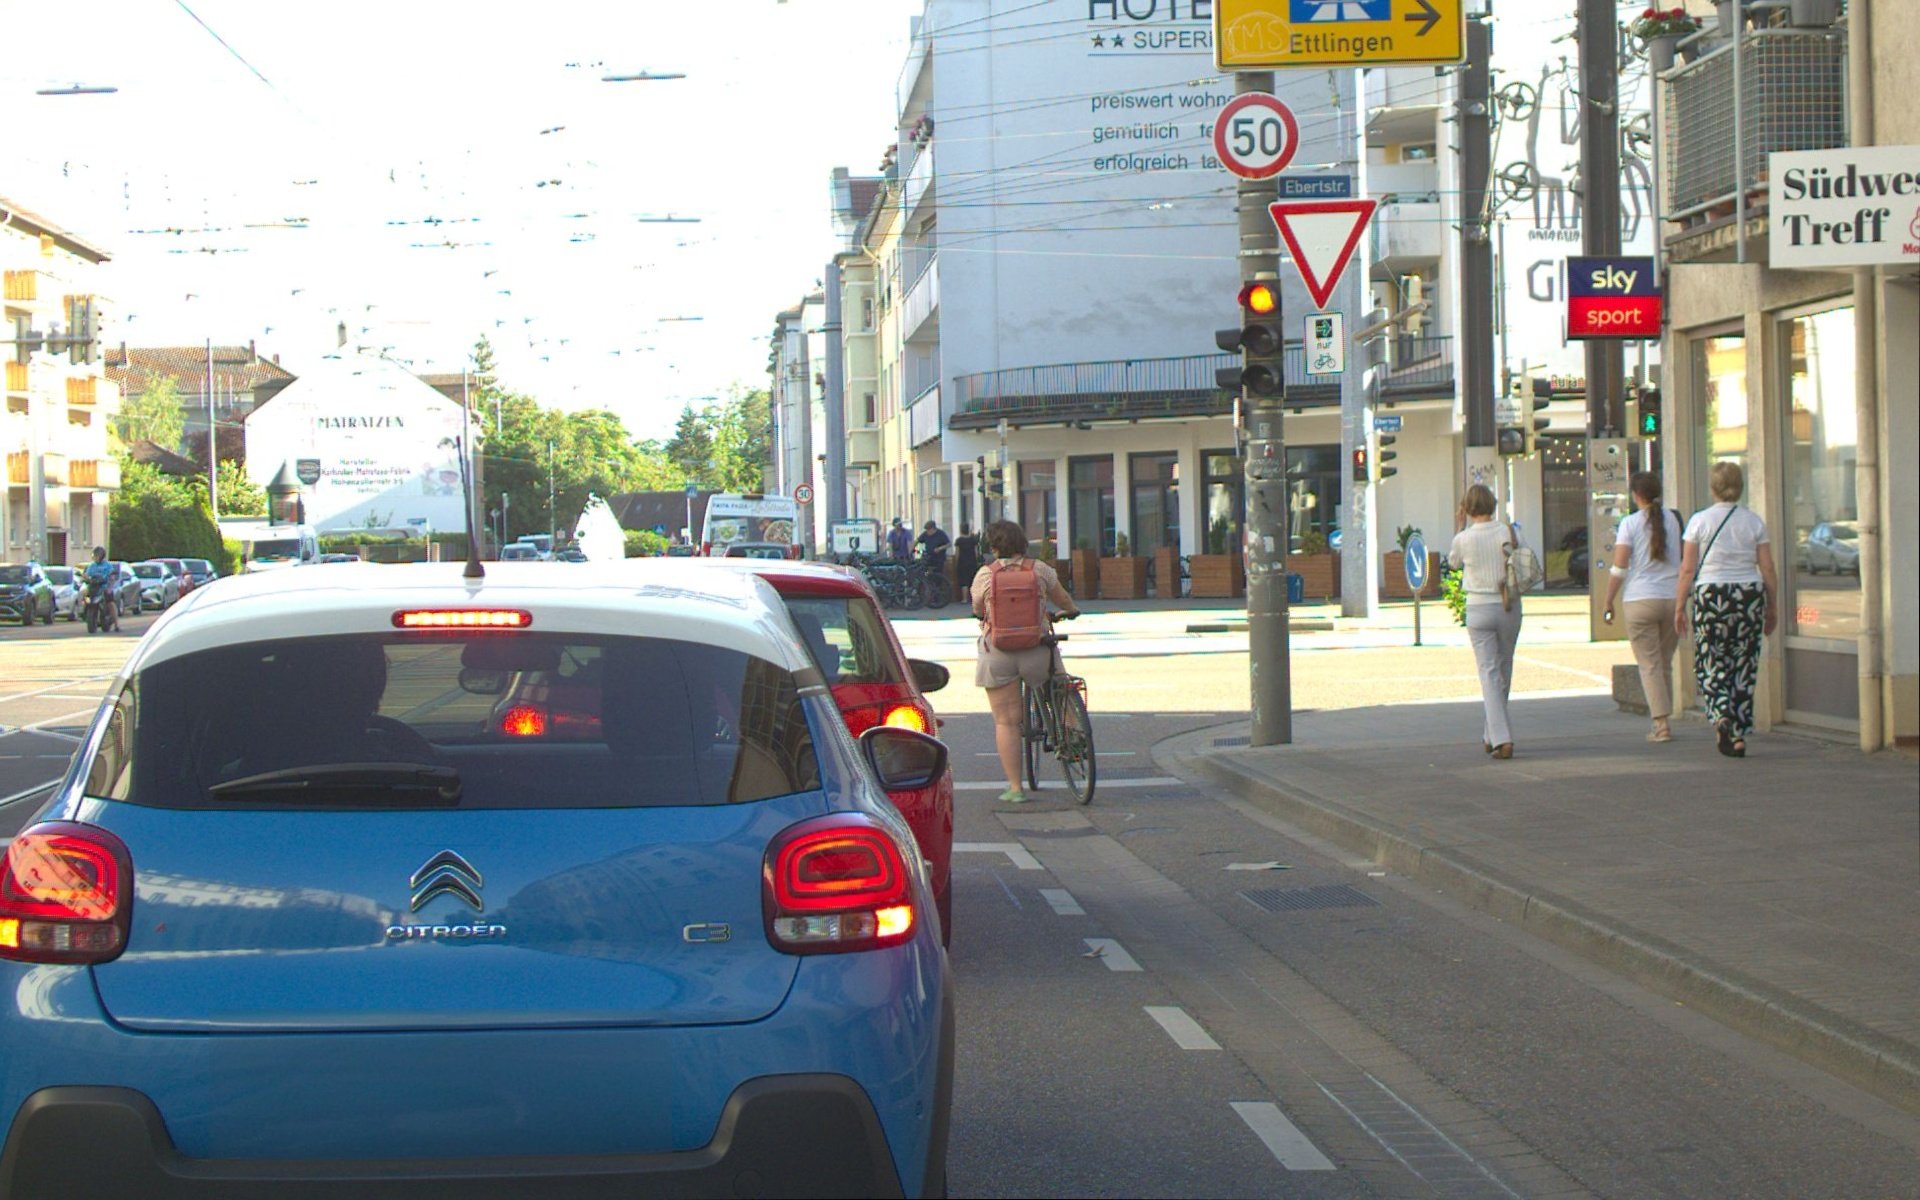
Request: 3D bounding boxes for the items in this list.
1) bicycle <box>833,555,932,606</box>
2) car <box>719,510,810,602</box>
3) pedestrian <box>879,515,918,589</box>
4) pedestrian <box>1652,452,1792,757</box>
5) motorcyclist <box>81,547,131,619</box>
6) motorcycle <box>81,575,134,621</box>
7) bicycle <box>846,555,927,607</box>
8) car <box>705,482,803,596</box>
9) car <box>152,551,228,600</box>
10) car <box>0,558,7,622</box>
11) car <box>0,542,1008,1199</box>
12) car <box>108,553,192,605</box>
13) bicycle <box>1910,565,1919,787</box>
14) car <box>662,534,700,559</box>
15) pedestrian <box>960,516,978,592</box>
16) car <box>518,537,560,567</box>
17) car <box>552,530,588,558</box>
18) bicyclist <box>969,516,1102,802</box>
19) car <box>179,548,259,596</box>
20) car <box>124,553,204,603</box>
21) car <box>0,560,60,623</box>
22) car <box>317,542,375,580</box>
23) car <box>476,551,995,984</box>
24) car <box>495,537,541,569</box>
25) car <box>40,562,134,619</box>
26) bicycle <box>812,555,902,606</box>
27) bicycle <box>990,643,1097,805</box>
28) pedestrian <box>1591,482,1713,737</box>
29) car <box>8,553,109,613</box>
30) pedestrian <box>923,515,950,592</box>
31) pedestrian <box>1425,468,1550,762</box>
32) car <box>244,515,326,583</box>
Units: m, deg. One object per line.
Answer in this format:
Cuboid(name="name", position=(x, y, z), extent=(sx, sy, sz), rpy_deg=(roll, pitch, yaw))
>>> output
Cuboid(name="bicycle", position=(-1.507, -0.381, 67.045), extent=(1.874, 0.953, 0.702), rpy_deg=(-1, 1, 1))
Cuboid(name="car", position=(-3.857, -0.867, 67.513), extent=(1.732, 1.744, 3.214), rpy_deg=(0, 1, -4))
Cuboid(name="pedestrian", position=(-1.297, -1.021, 72.697), extent=(0.646, 1.550, 0.493), rpy_deg=(-2, 1, -22))
Cuboid(name="pedestrian", position=(4.297, 0.017, 19.415), extent=(0.541, 1.666, 0.650), rpy_deg=(-3, 1, -2))
Cuboid(name="motorcyclist", position=(-16.673, -0.331, 67.117), extent=(0.719, 1.373, 0.911), rpy_deg=(-1, 1, 0))
Cuboid(name="motorcycle", position=(-16.679, -0.047, 67.276), extent=(0.615, 0.861, 1.671), rpy_deg=(-1, 1, 0))
Cuboid(name="bicycle", position=(-1.403, -0.366, 65.986), extent=(1.504, 0.953, 0.702), rpy_deg=(-1, 1, 1))
Cuboid(name="car", position=(-4.348, -1.278, 72.423), extent=(1.993, 2.317, 4.001), rpy_deg=(0, 1, -4))
Cuboid(name="car", position=(-25.991, -0.842, 116.160), extent=(1.870, 1.568, 4.001), rpy_deg=(-1, 1, -4))
Cuboid(name="car", position=(-23.331, -0.187, 79.174), extent=(1.910, 1.492, 4.001), rpy_deg=(-1, 1, -5))
Cuboid(name="car", position=(-1.019, 0.611, 7.309), extent=(1.743, 1.457, 4.001), rpy_deg=(0, 1, -7))
Cuboid(name="car", position=(-24.959, -0.656, 106.069), extent=(1.910, 1.492, 4.001), rpy_deg=(-1, 1, -5))
Cuboid(name="bicycle", position=(4.919, 0.376, 15.695), extent=(0.530, 1.068, 1.811), rpy_deg=(-1, 1, -4))
Cuboid(name="car", position=(-14.598, -2.808, 179.562), extent=(1.754, 1.255, 3.833), rpy_deg=(-1, 1, -7))
Cuboid(name="pedestrian", position=(0.179, -0.942, 70.134), extent=(0.284, 1.550, 0.305), rpy_deg=(-1, 1, -9))
Cuboid(name="car", position=(-22.865, -2.619, 186.765), extent=(2.021, 1.520, 4.001), rpy_deg=(-2, 1, -4))
Cuboid(name="car", position=(-24.453, -3.506, 215.483), extent=(1.993, 1.678, 4.001), rpy_deg=(-2, 1, -10))
Cuboid(name="bicyclist", position=(0.440, 0.333, 20.282), extent=(0.726, 1.640, 0.790), rpy_deg=(-1, 1, -1))
Cuboid(name="car", position=(-26.184, -1.011, 121.584), extent=(2.030, 1.614, 4.511), rpy_deg=(-1, 1, -3))
Cuboid(name="car", position=(-25.684, -0.720, 111.068), extent=(1.910, 1.492, 4.001), rpy_deg=(-1, 1, -5))
Cuboid(name="car", position=(-23.857, -0.220, 85.957), extent=(1.910, 1.492, 4.001), rpy_deg=(-1, 1, -5))
Cuboid(name="car", position=(-25.803, -1.668, 144.547), extent=(2.021, 1.520, 4.001), rpy_deg=(-1, 1, -4))
Cuboid(name="car", position=(-0.783, 0.541, 13.676), extent=(1.738, 1.415, 4.000), rpy_deg=(-1, 1, -1))
Cuboid(name="car", position=(-21.743, -2.308, 169.392), extent=(2.021, 1.520, 4.001), rpy_deg=(-1, 1, -4))
Cuboid(name="car", position=(-24.782, -0.286, 97.669), extent=(1.910, 1.492, 4.001), rpy_deg=(-1, 1, -5))
Cuboid(name="bicycle", position=(-2.047, -0.394, 68.404), extent=(1.720, 0.953, 0.702), rpy_deg=(-1, 1, 1))
Cuboid(name="bicycle", position=(0.489, 0.725, 20.682), extent=(0.498, 0.861, 1.749), rpy_deg=(-1, 1, -3))
Cuboid(name="pedestrian", position=(4.238, 0.049, 21.067), extent=(0.541, 1.502, 0.611), rpy_deg=(-3, 3, -2))
Cuboid(name="car", position=(-24.124, -0.475, 92.093), extent=(1.910, 1.492, 4.001), rpy_deg=(-1, 1, -5))
Cuboid(name="pedestrian", position=(-0.478, -0.944, 69.973), extent=(0.491, 1.550, 0.384), rpy_deg=(-1, 1, -3))
Cuboid(name="pedestrian", position=(3.097, 0.076, 20.218), extent=(0.541, 1.666, 0.624), rpy_deg=(-3, 3, -2))
Cuboid(name="car", position=(-23.387, -1.775, 119.220), extent=(2.206, 2.243, 4.678), rpy_deg=(-1, 1, -4))
